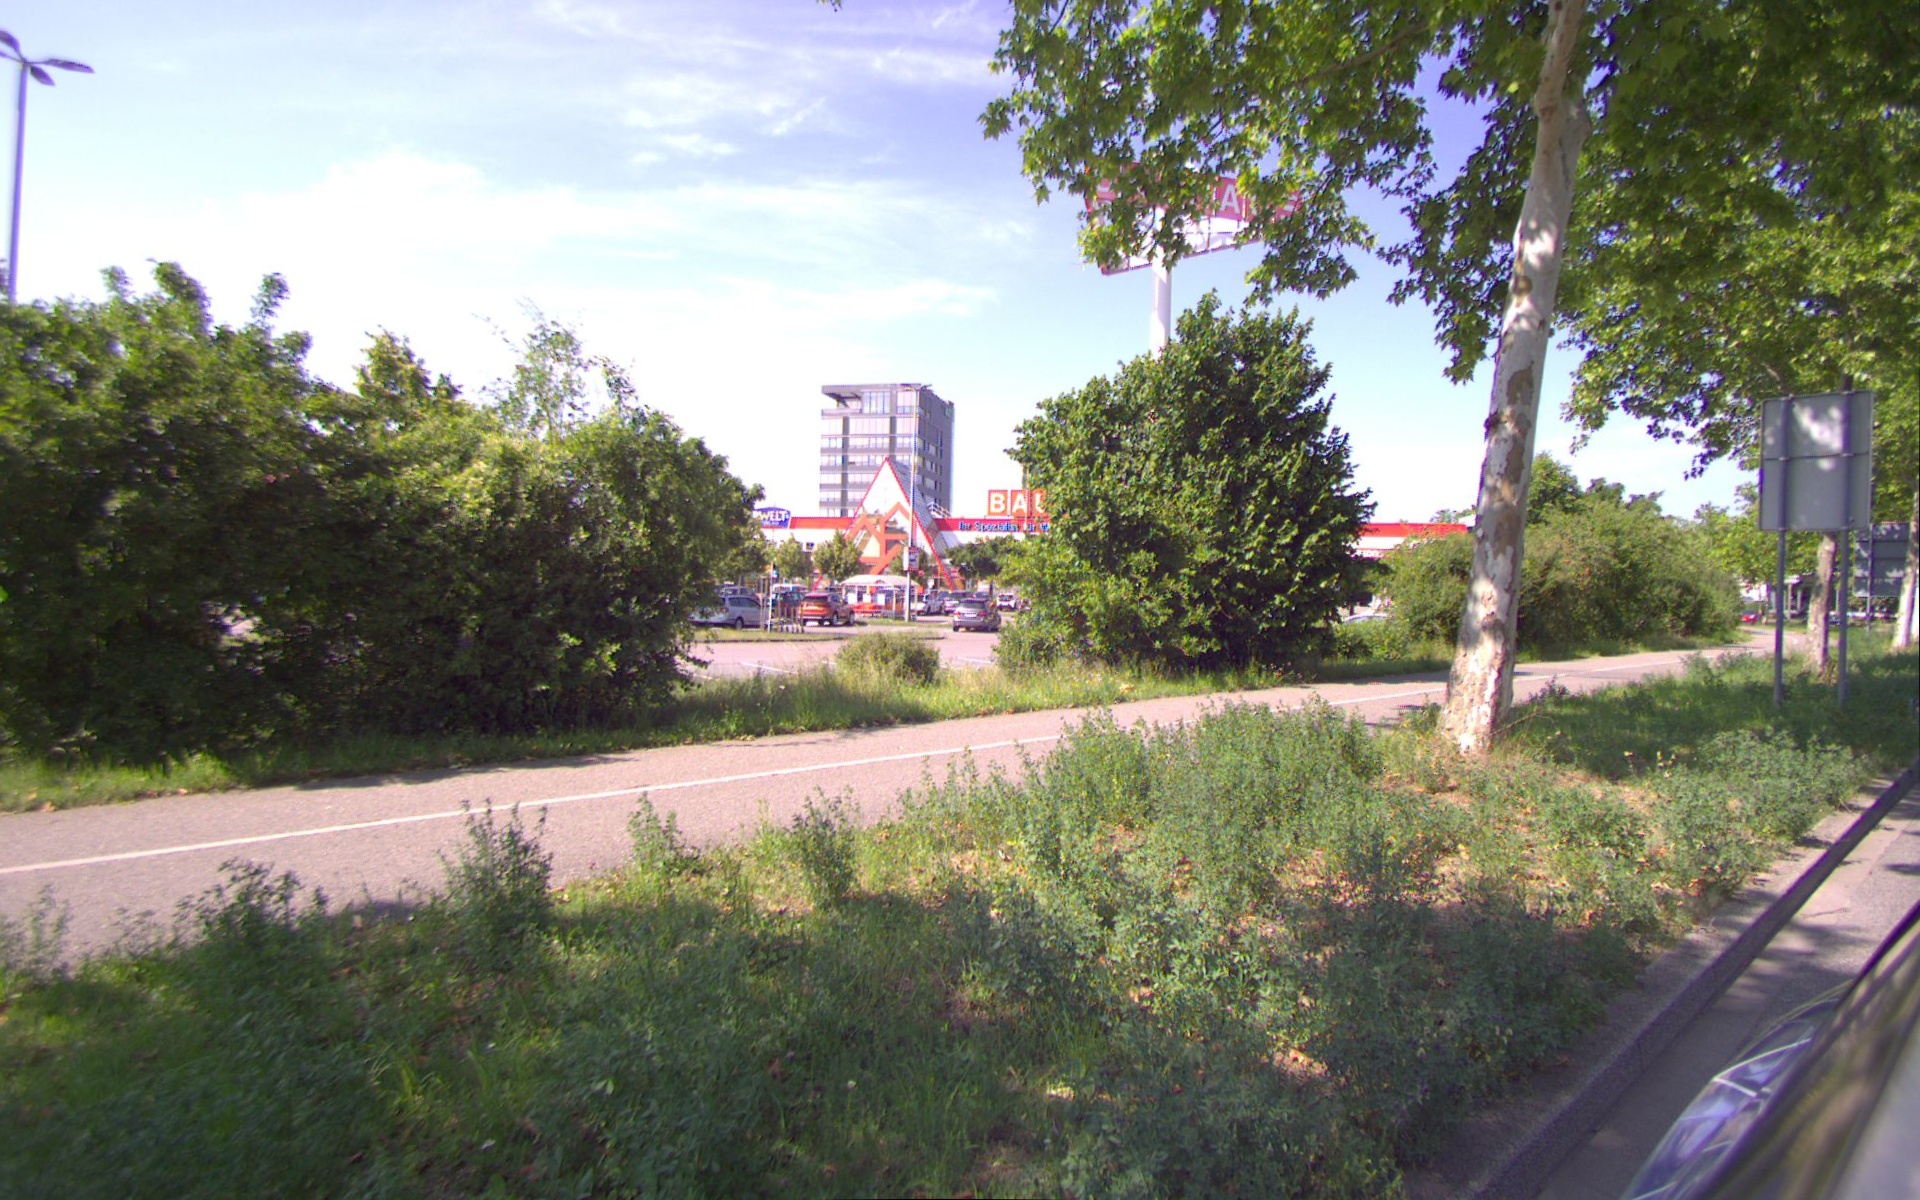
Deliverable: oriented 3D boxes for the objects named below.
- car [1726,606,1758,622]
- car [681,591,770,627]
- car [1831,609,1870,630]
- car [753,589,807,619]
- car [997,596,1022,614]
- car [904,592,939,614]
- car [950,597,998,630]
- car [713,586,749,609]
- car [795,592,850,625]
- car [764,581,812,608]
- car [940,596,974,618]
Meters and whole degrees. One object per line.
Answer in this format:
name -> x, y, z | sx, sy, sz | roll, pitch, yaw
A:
car -> 85.182, 1.497, 110.325 | 1.628, 1.622, 3.582 | 0, 0, 18
car -> -8.984, 0.381, 39.060 | 1.759, 1.289, 3.806 | 0, -2, 15
car -> 72.381, 1.597, 82.325 | 1.708, 1.604, 3.713 | 0, 0, 31
car -> -10.019, 0.202, 56.650 | 1.745, 1.625, 3.732 | 0, 0, 11
car -> 4.135, 0.411, 83.810 | 1.545, 1.397, 3.606 | 0, 0, 11
car -> -2.501, 0.176, 66.705 | 1.545, 1.397, 3.606 | 0, 0, 11
car -> 0.707, 0.615, 48.153 | 1.752, 1.505, 3.778 | 0, 0, 9
car -> -15.857, -0.168, 70.274 | 1.473, 1.527, 3.495 | 1, 0, 5
car -> -6.678, 0.395, 49.560 | 1.654, 1.565, 3.778 | 0, 0, 9
car -> -11.784, -0.372, 69.579 | 1.973, 1.834, 4.043 | 0, 0, 11
car -> -0.178, 0.431, 66.607 | 1.545, 1.397, 3.606 | 0, 0, 11
